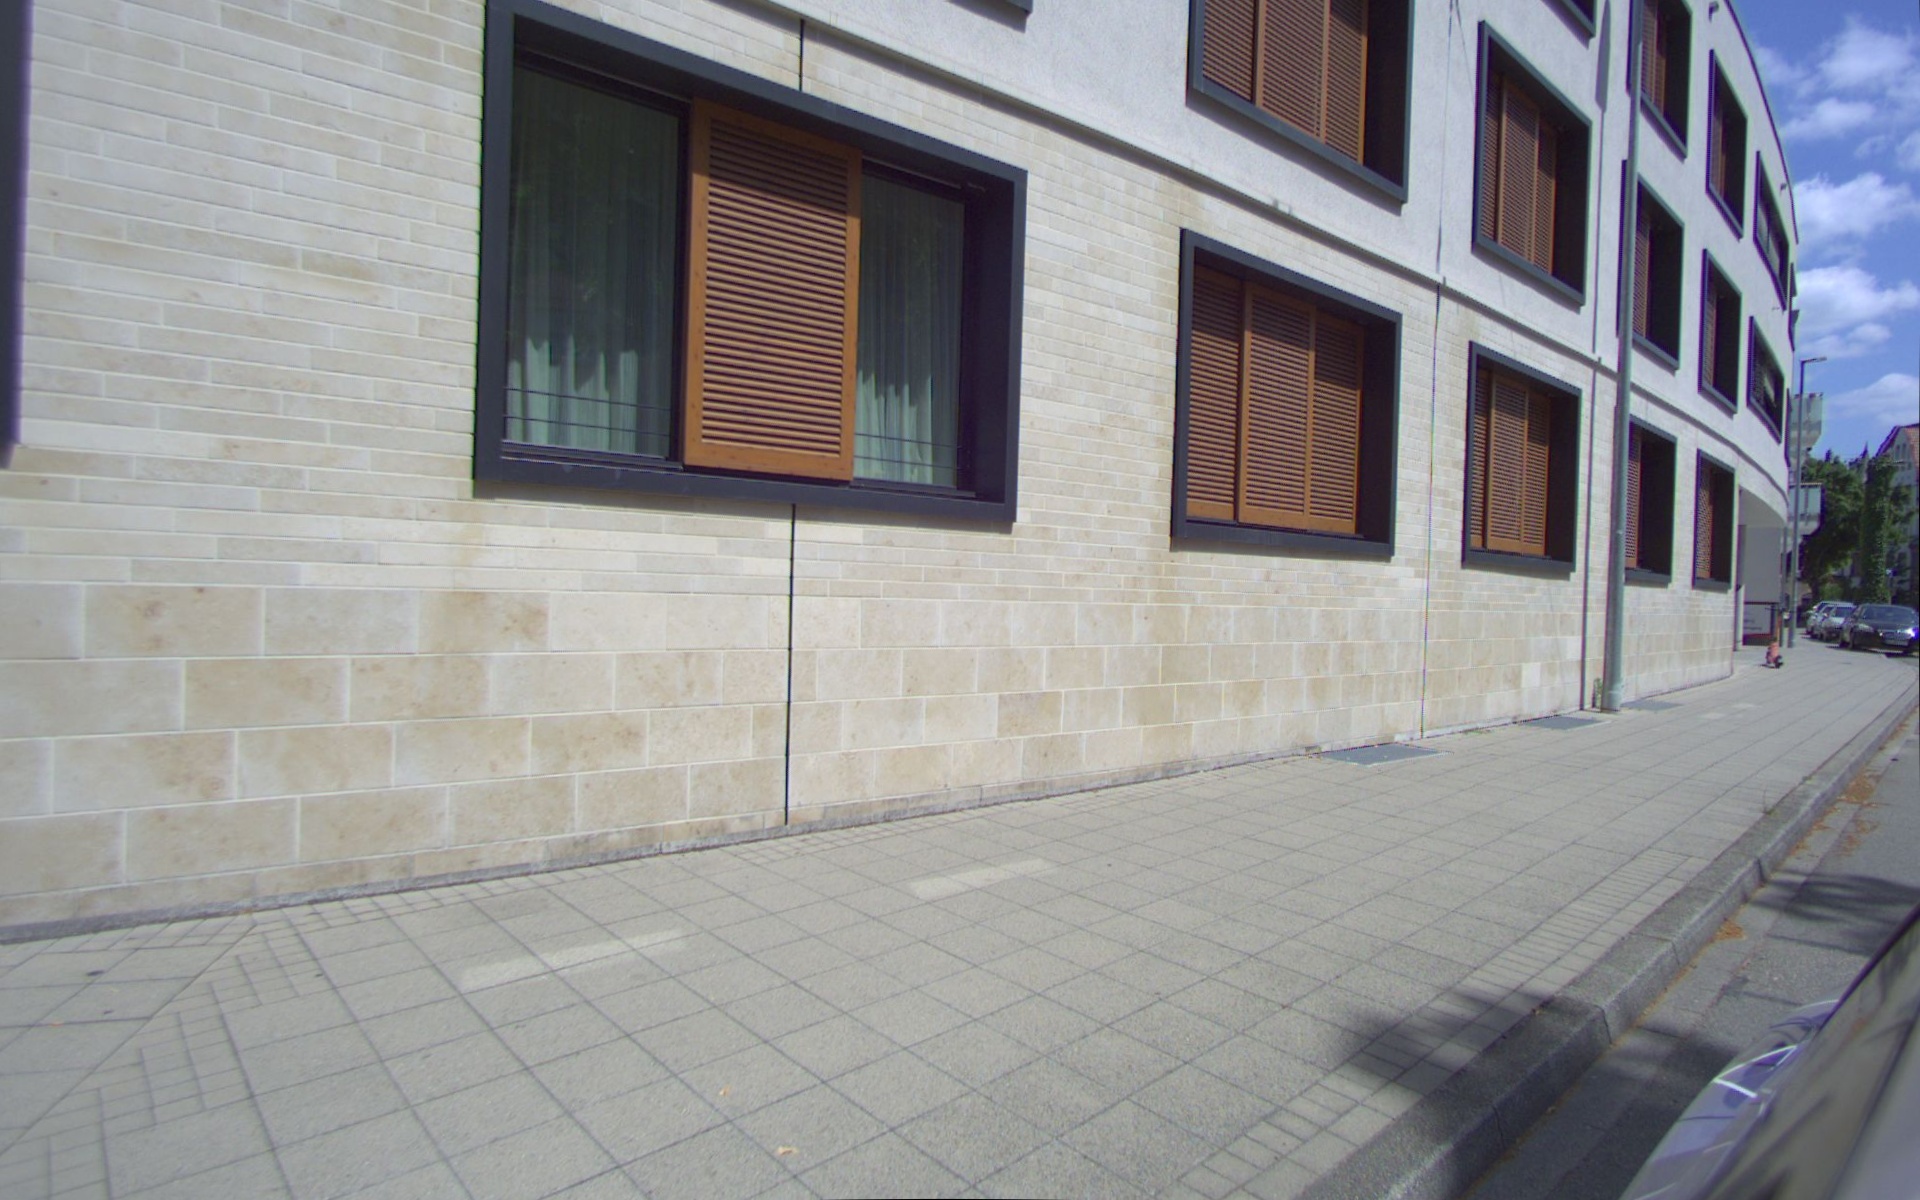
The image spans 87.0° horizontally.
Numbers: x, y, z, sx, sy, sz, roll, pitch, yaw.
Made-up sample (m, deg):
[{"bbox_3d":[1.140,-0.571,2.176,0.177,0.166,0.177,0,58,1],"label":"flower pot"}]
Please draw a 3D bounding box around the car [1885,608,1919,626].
[{"bbox_3d":[73.288,1.321,77.842,1.797,1.343,3.971,3,1,22],"label":"car"}]

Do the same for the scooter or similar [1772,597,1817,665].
[{"bbox_3d":[16.745,0.601,20.336,0.580,1.276,1.349,4,3,38],"label":"scooter or similar"}]

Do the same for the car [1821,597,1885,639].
[{"bbox_3d":[35.721,0.681,40.532,1.727,1.450,3.982,7,5,41],"label":"car"}]

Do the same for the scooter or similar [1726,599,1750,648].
[{"bbox_3d":[20.276,0.605,26.384,0.421,1.226,1.298,2,1,36],"label":"scooter or similar"}]

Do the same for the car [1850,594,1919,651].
[{"bbox_3d":[29.009,0.675,31.196,1.795,1.527,4.490,6,4,35],"label":"car"}]

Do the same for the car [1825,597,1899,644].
[{"bbox_3d":[32.779,0.692,36.863,1.590,1.450,3.657,6,4,37],"label":"car"}]

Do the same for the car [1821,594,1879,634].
[{"bbox_3d":[40.862,0.590,46.459,1.728,1.630,3.740,5,4,44],"label":"car"}]

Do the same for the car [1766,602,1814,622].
[{"bbox_3d":[80.359,1.132,98.040,1.747,1.633,3.865,7,3,10],"label":"car"}]
